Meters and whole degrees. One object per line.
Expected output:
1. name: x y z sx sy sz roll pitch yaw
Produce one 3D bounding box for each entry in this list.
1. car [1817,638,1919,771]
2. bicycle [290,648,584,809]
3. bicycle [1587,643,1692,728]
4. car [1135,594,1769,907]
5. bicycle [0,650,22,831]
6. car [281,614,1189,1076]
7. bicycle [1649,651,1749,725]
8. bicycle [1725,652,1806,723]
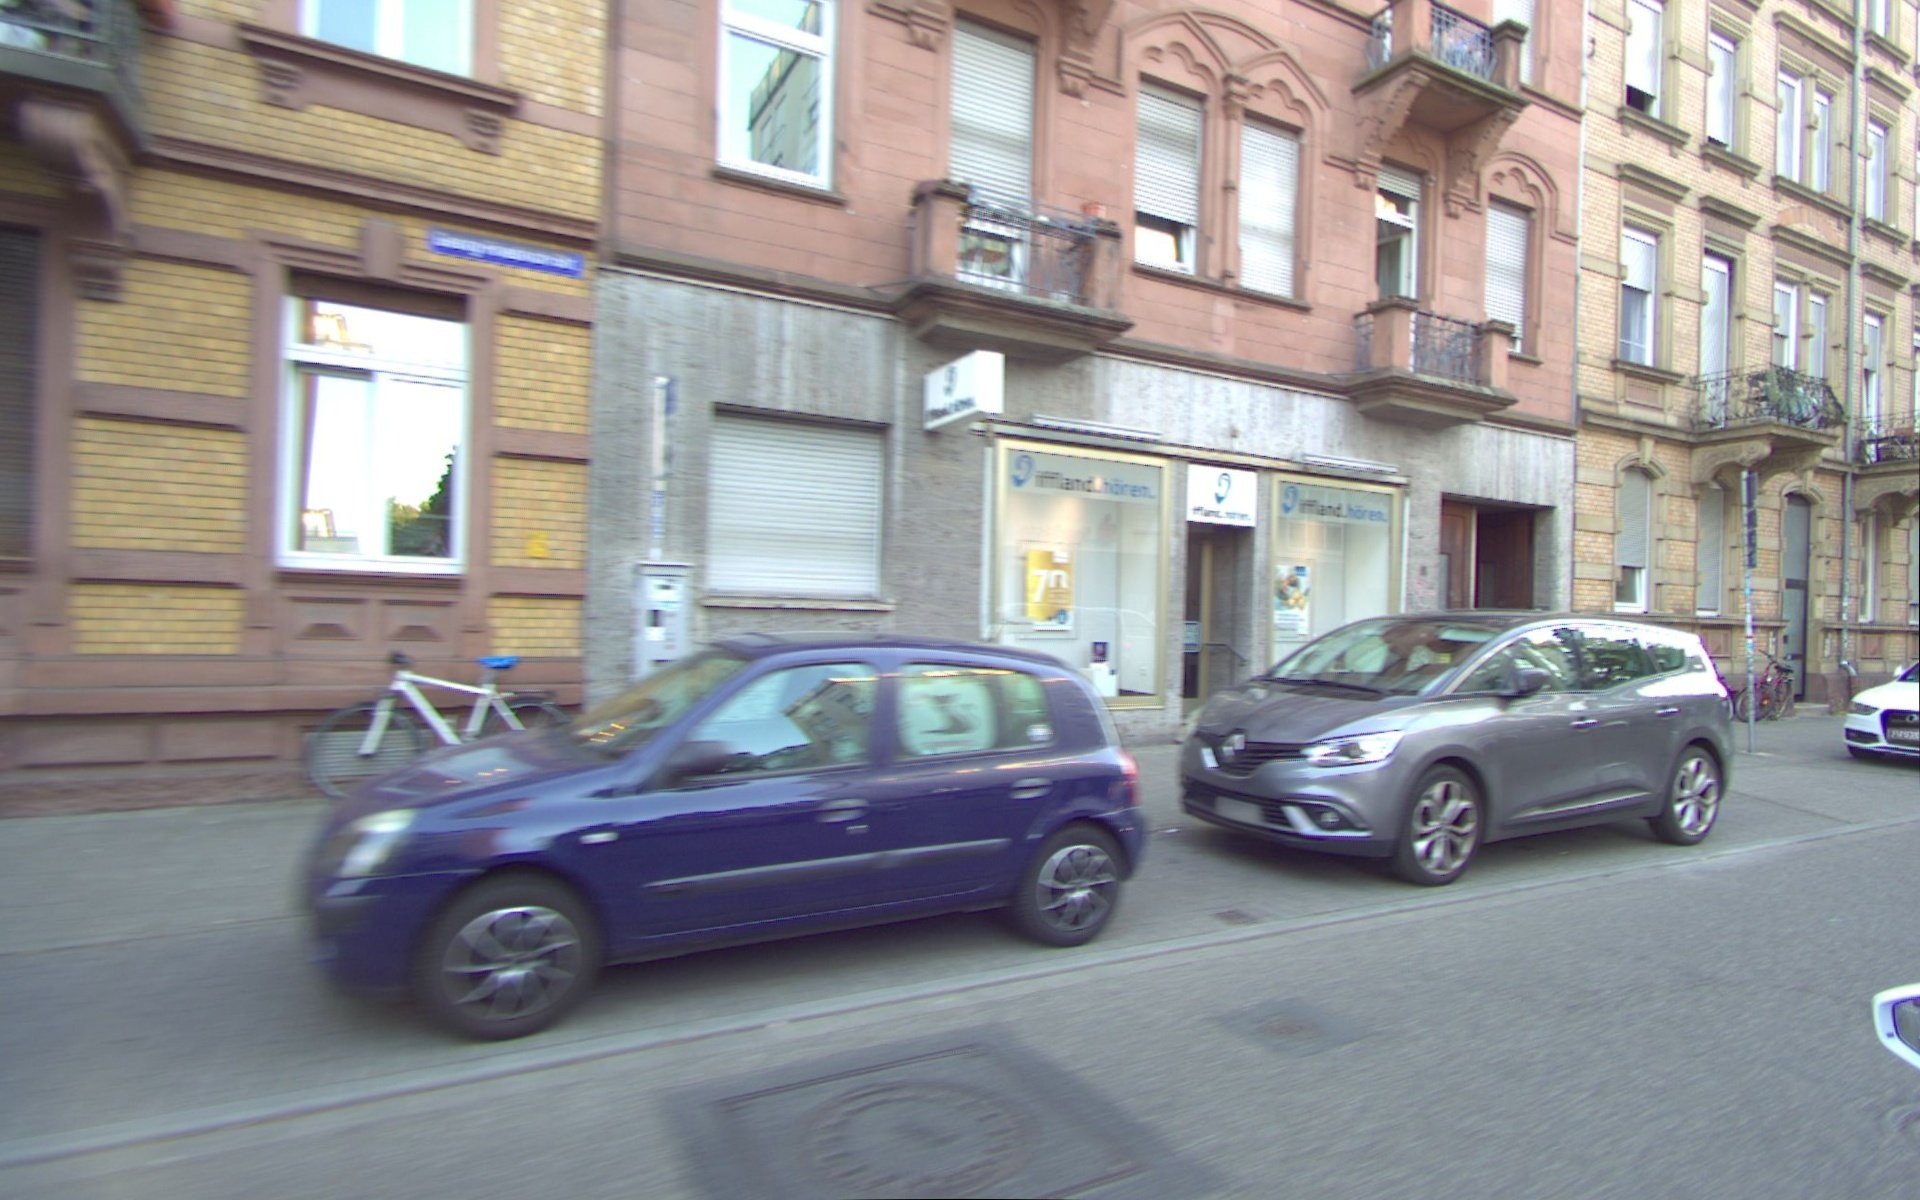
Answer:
1. car: 12.540 1.224 12.169 4.451 1.431 1.751 1 0 -28
2. bicycle: -3.747 0.896 7.319 1.824 1.036 0.447 2 3 -28
3. bicycle: 9.830 1.216 14.515 1.709 1.147 0.513 2 0 -28
4. car: 3.599 0.851 7.216 4.389 1.655 1.846 1 0 -28
5. bicycle: -6.497 0.828 5.616 1.737 1.051 0.547 1 2 -27
6. car: -0.875 0.833 4.744 3.648 1.439 1.579 1 0 -27
7. bicycle: 11.152 1.307 15.146 1.604 1.050 0.563 2 0 -28
8. bicycle: 12.949 1.380 16.143 1.608 1.041 0.588 2 0 -35
